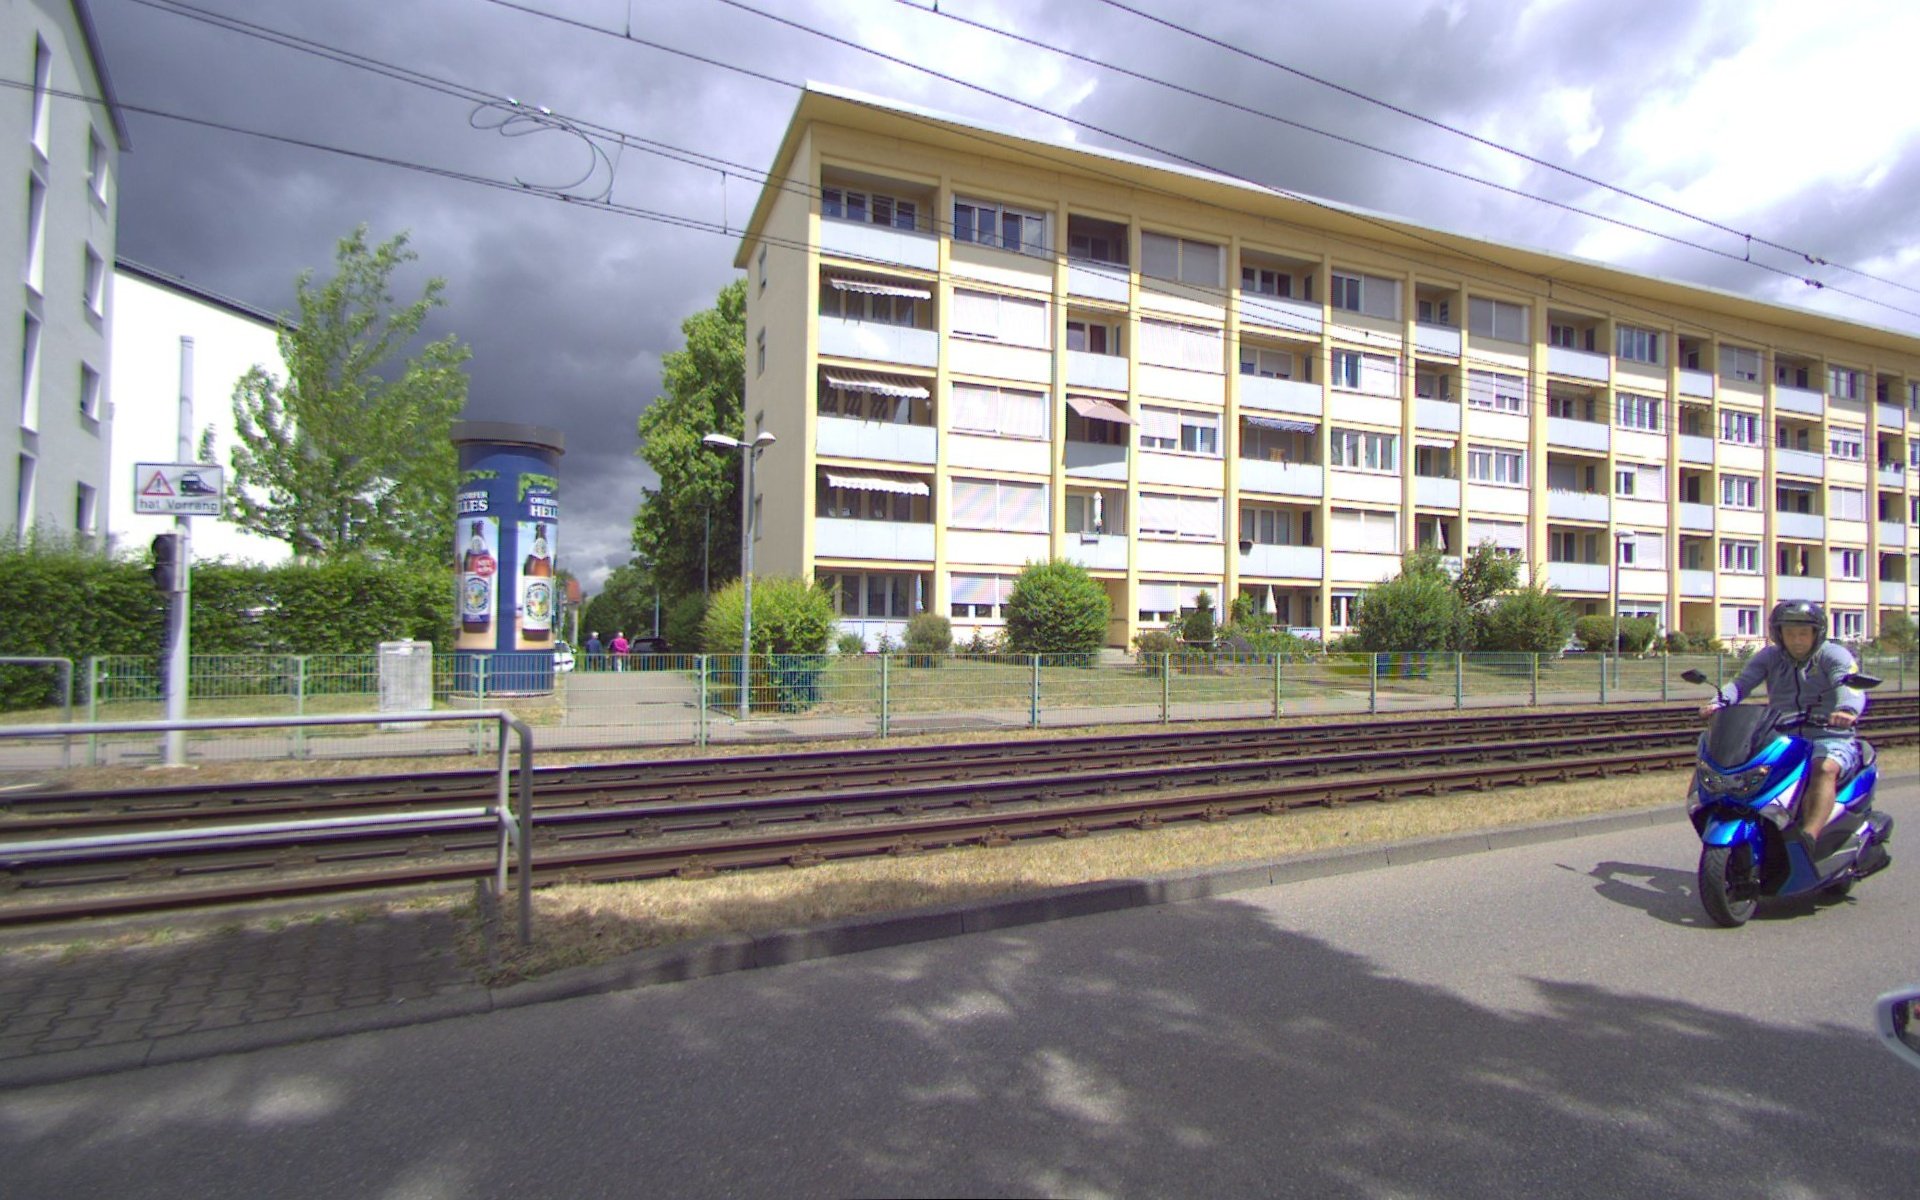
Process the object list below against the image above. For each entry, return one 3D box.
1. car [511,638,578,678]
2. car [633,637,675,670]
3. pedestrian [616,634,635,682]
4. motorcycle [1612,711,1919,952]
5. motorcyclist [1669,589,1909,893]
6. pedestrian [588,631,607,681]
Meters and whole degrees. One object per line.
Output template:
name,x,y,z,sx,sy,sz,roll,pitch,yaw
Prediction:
car,-14.011,1.922,33.791,1.599,1.217,3.282,1,-1,-31
car,-13.159,2.268,43.346,1.590,1.292,3.300,1,-1,-14
pedestrian,-11.733,2.015,35.230,0.551,1.644,0.610,1,-1,-24
motorcycle,4.411,1.157,5.426,1.810,0.967,0.743,1,0,-30
motorcyclist,4.497,0.704,5.467,0.877,1.486,0.743,1,-1,-29
pedestrian,-12.568,1.943,34.808,0.551,1.702,0.610,1,-1,-24
